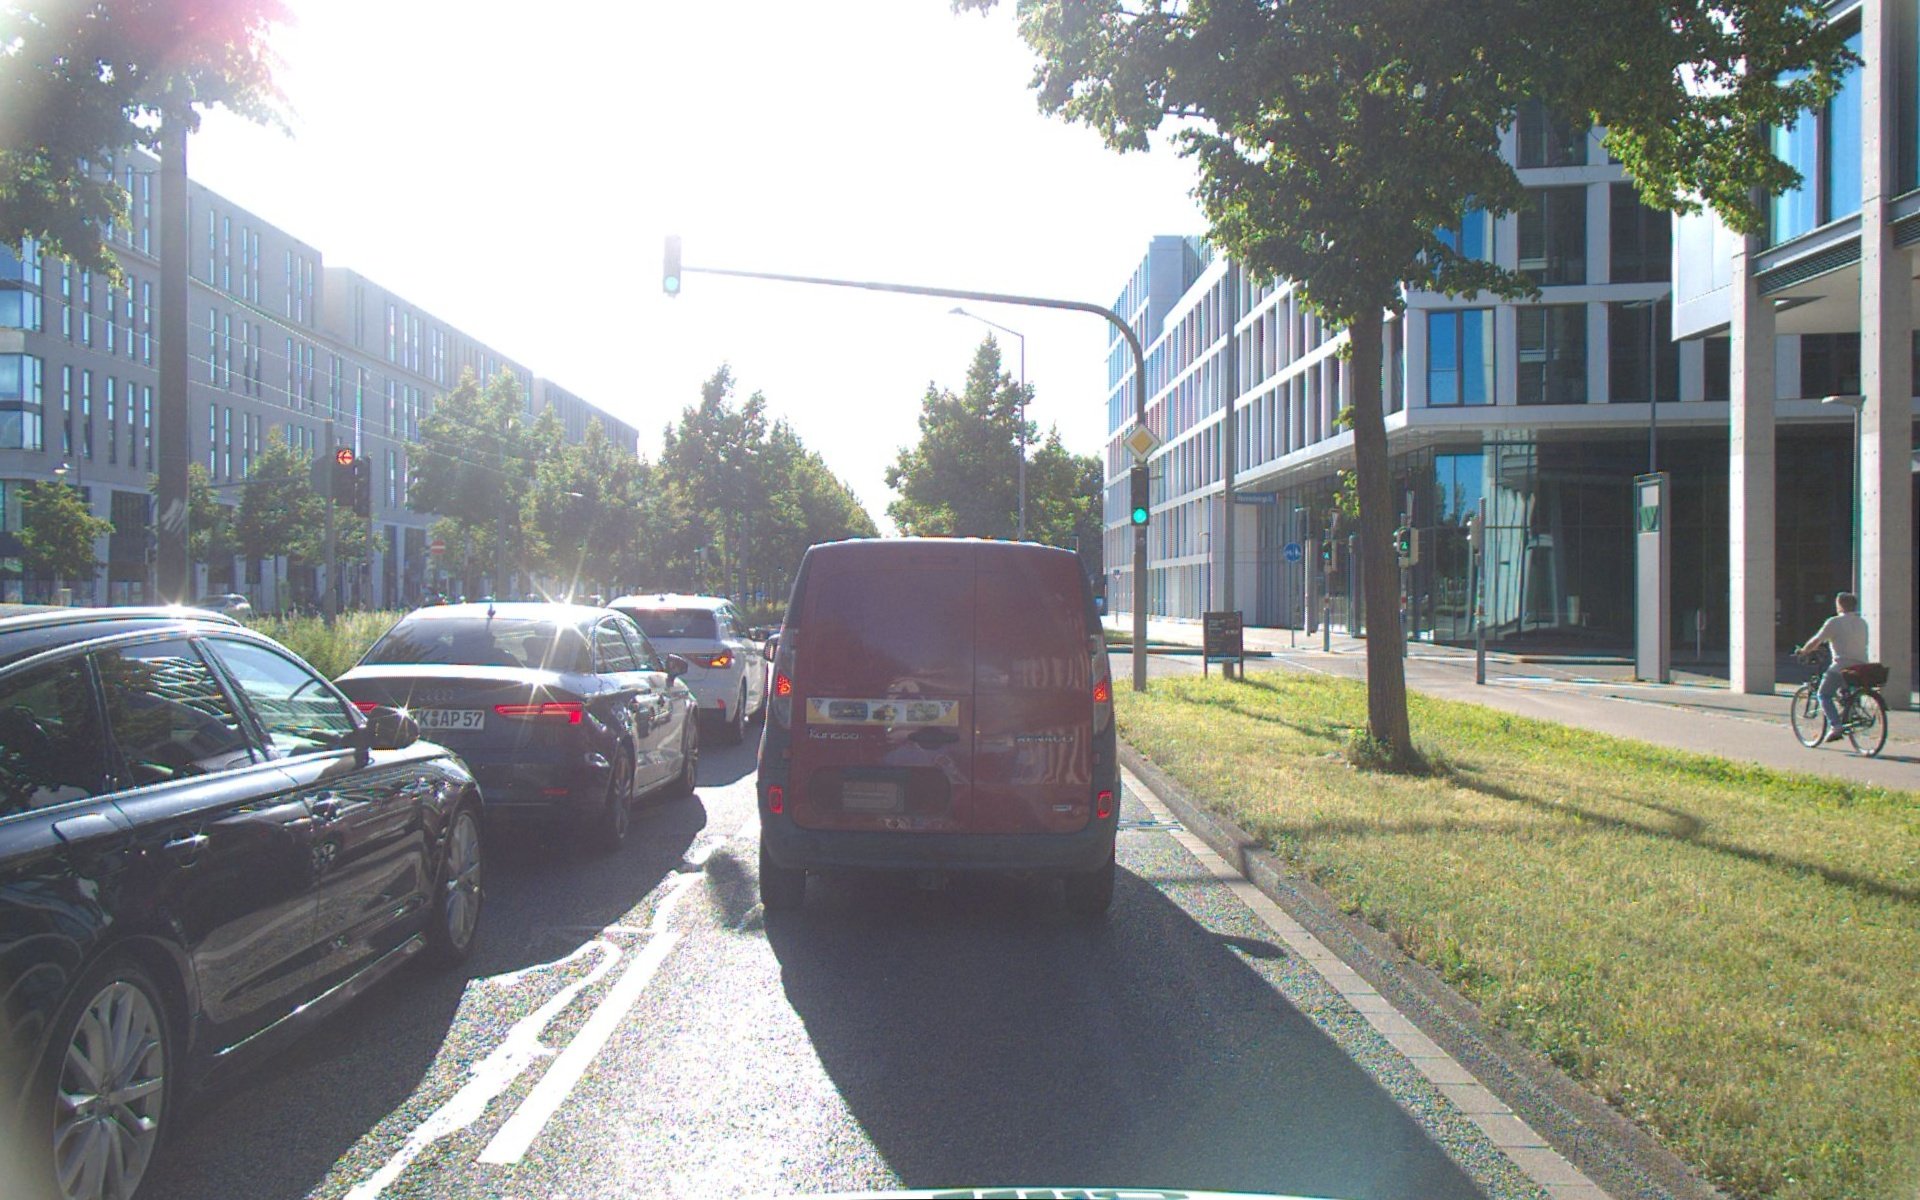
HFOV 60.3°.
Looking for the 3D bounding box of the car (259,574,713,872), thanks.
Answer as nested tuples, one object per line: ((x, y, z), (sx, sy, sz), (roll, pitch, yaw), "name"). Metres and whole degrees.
((-2.784, 0.635, 10.707), (1.771, 1.554, 4.112), (0, 0, 0), "car")

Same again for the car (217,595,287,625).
((-33.795, 0.460, 79.065), (1.548, 1.366, 4.470), (0, 0, -1), "car")

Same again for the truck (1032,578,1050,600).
((9.716, -1.282, 198.824), (1.794, 2.545, 5.930), (0, 0, -1), "truck")

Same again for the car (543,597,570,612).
((-36.235, 0.419, 148.647), (1.548, 1.366, 3.711), (0, 0, -1), "car")

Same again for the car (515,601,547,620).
((-35.290, 0.874, 136.183), (1.740, 1.555, 3.805), (0, 0, -1), "car")

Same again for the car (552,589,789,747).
((-2.905, 0.624, 17.442), (1.771, 1.460, 4.113), (0, 0, 0), "car")

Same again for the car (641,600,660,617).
((-37.127, 1.016, 198.604), (1.694, 2.049, 3.998), (0, 0, -3), "car")

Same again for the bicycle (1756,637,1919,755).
((9.695, 1.030, 18.358), (0.726, 1.194, 1.961), (-2, -1, -1), "bicycle")

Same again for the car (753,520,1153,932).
((-0.033, 0.549, 9.400), (1.771, 1.825, 4.113), (0, 0, 0), "car")

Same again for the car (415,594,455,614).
((-34.956, 0.261, 110.206), (1.548, 1.366, 3.711), (0, 0, -1), "car")

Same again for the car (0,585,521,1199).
((-2.732, 0.702, 4.828), (1.771, 1.482, 4.507), (0, 0, -1), "car")

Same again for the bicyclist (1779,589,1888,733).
((9.695, 0.660, 18.382), (0.756, 1.558, 0.849), (0, 0, -1), "bicyclist")

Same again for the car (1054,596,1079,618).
((8.212, 0.529, 127.975), (1.722, 1.640, 3.903), (0, 0, 0), "car")
